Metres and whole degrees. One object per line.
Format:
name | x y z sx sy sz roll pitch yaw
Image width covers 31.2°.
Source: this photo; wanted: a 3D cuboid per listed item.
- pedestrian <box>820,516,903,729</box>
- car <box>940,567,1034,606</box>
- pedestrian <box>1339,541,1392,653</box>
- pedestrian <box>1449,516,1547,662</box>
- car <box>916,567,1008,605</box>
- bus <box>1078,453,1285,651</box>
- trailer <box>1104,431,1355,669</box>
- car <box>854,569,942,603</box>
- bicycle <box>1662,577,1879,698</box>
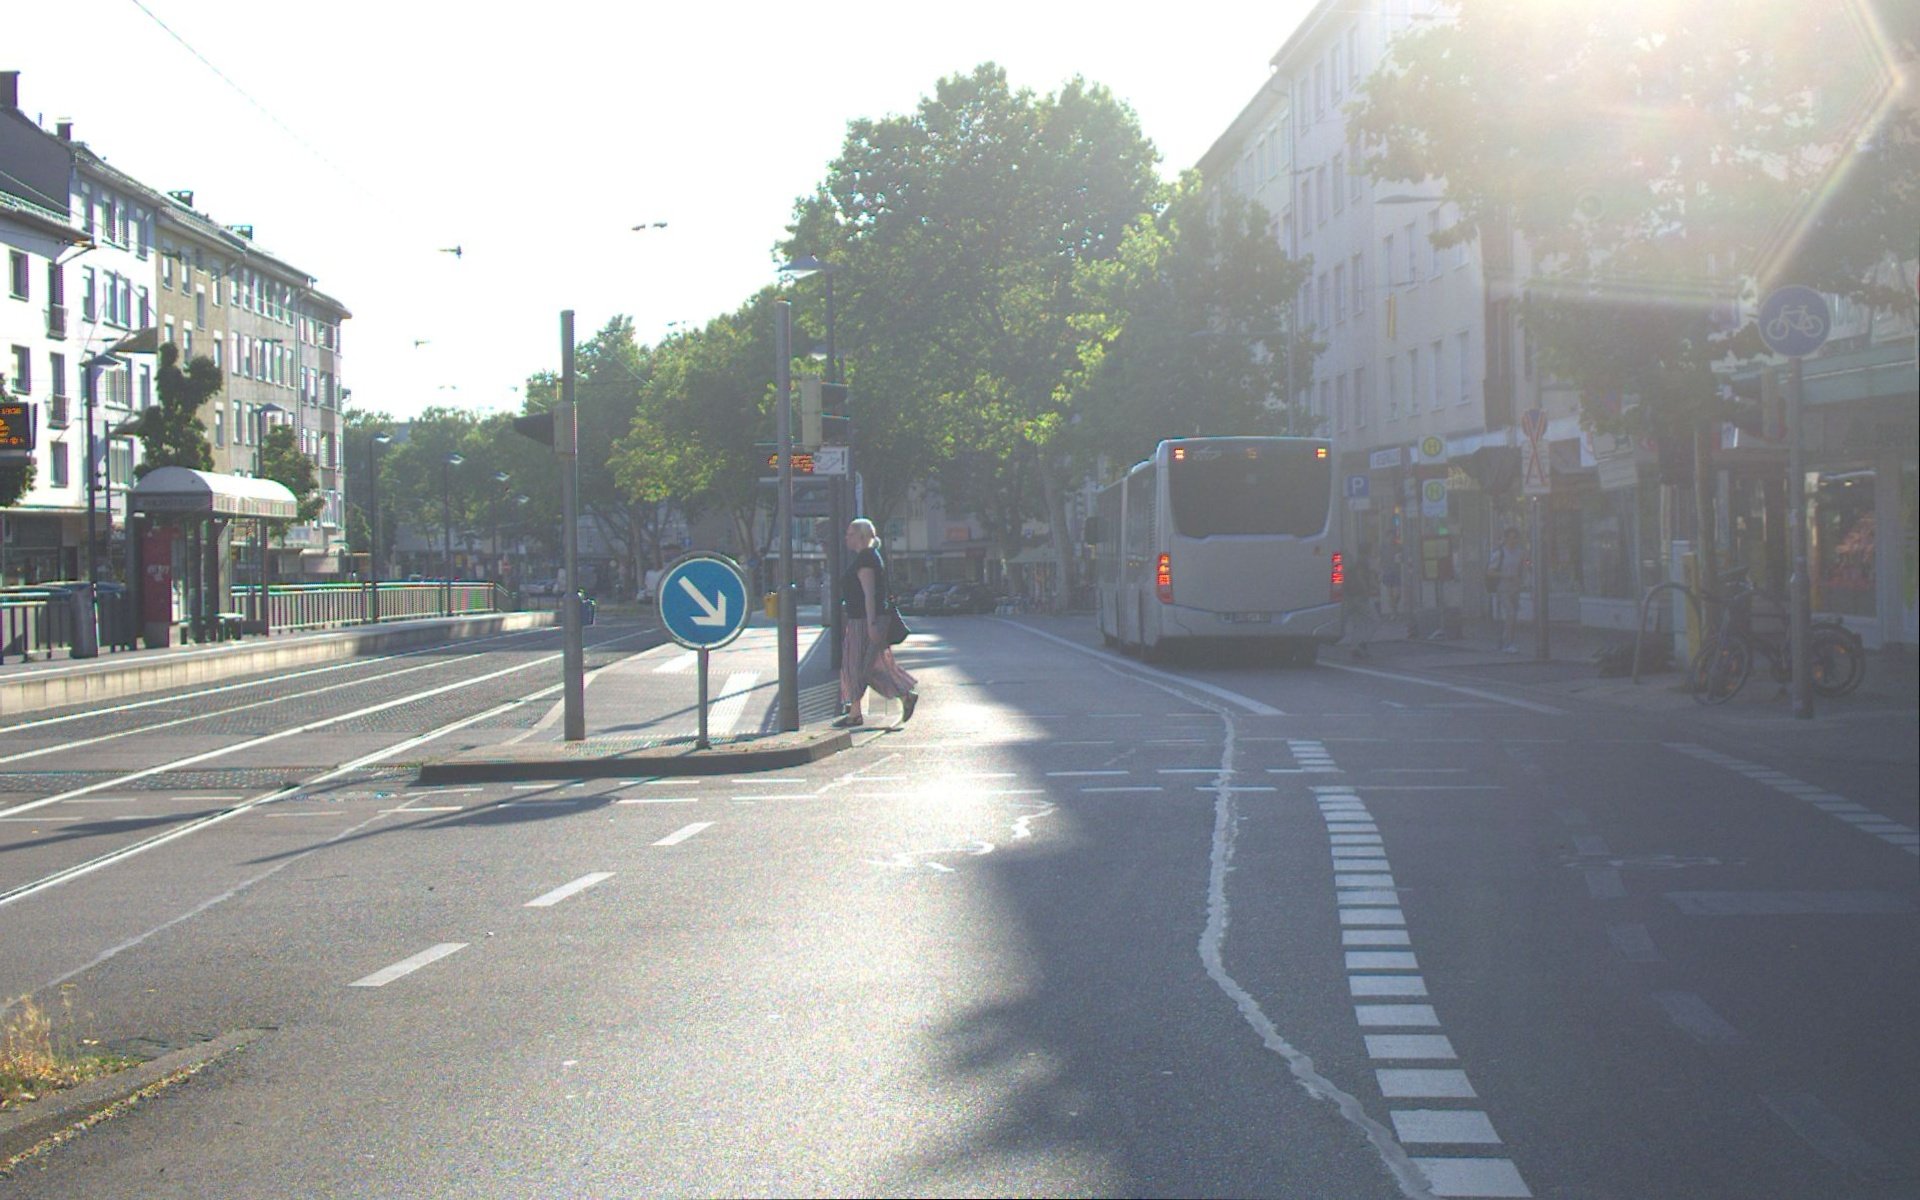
pedestrian | -0.822 0.180 28.839 0.680 1.764 0.687 0 1 0
car | 1.249 -0.642 158.567 3.889 1.693 1.833 -2 1 -29
pedestrian | 5.934 -0.047 50.335 0.676 1.622 0.655 1 1 0
pedestrian | 7.518 -0.153 48.013 0.954 2.007 0.917 1 1 -40
car | 0.104 -0.645 161.339 3.889 1.693 1.833 -2 1 -29
bus | 3.667 -0.817 58.994 2.812 3.091 9.095 1 1 -1
trailer | 3.764 -0.719 50.053 2.812 3.100 8.795 1 1 -1
car | -3.000 -0.681 166.658 3.889 1.591 1.691 -2 1 -29
bicycle | 7.377 0.335 31.336 1.772 1.018 0.694 -2 1 -1
